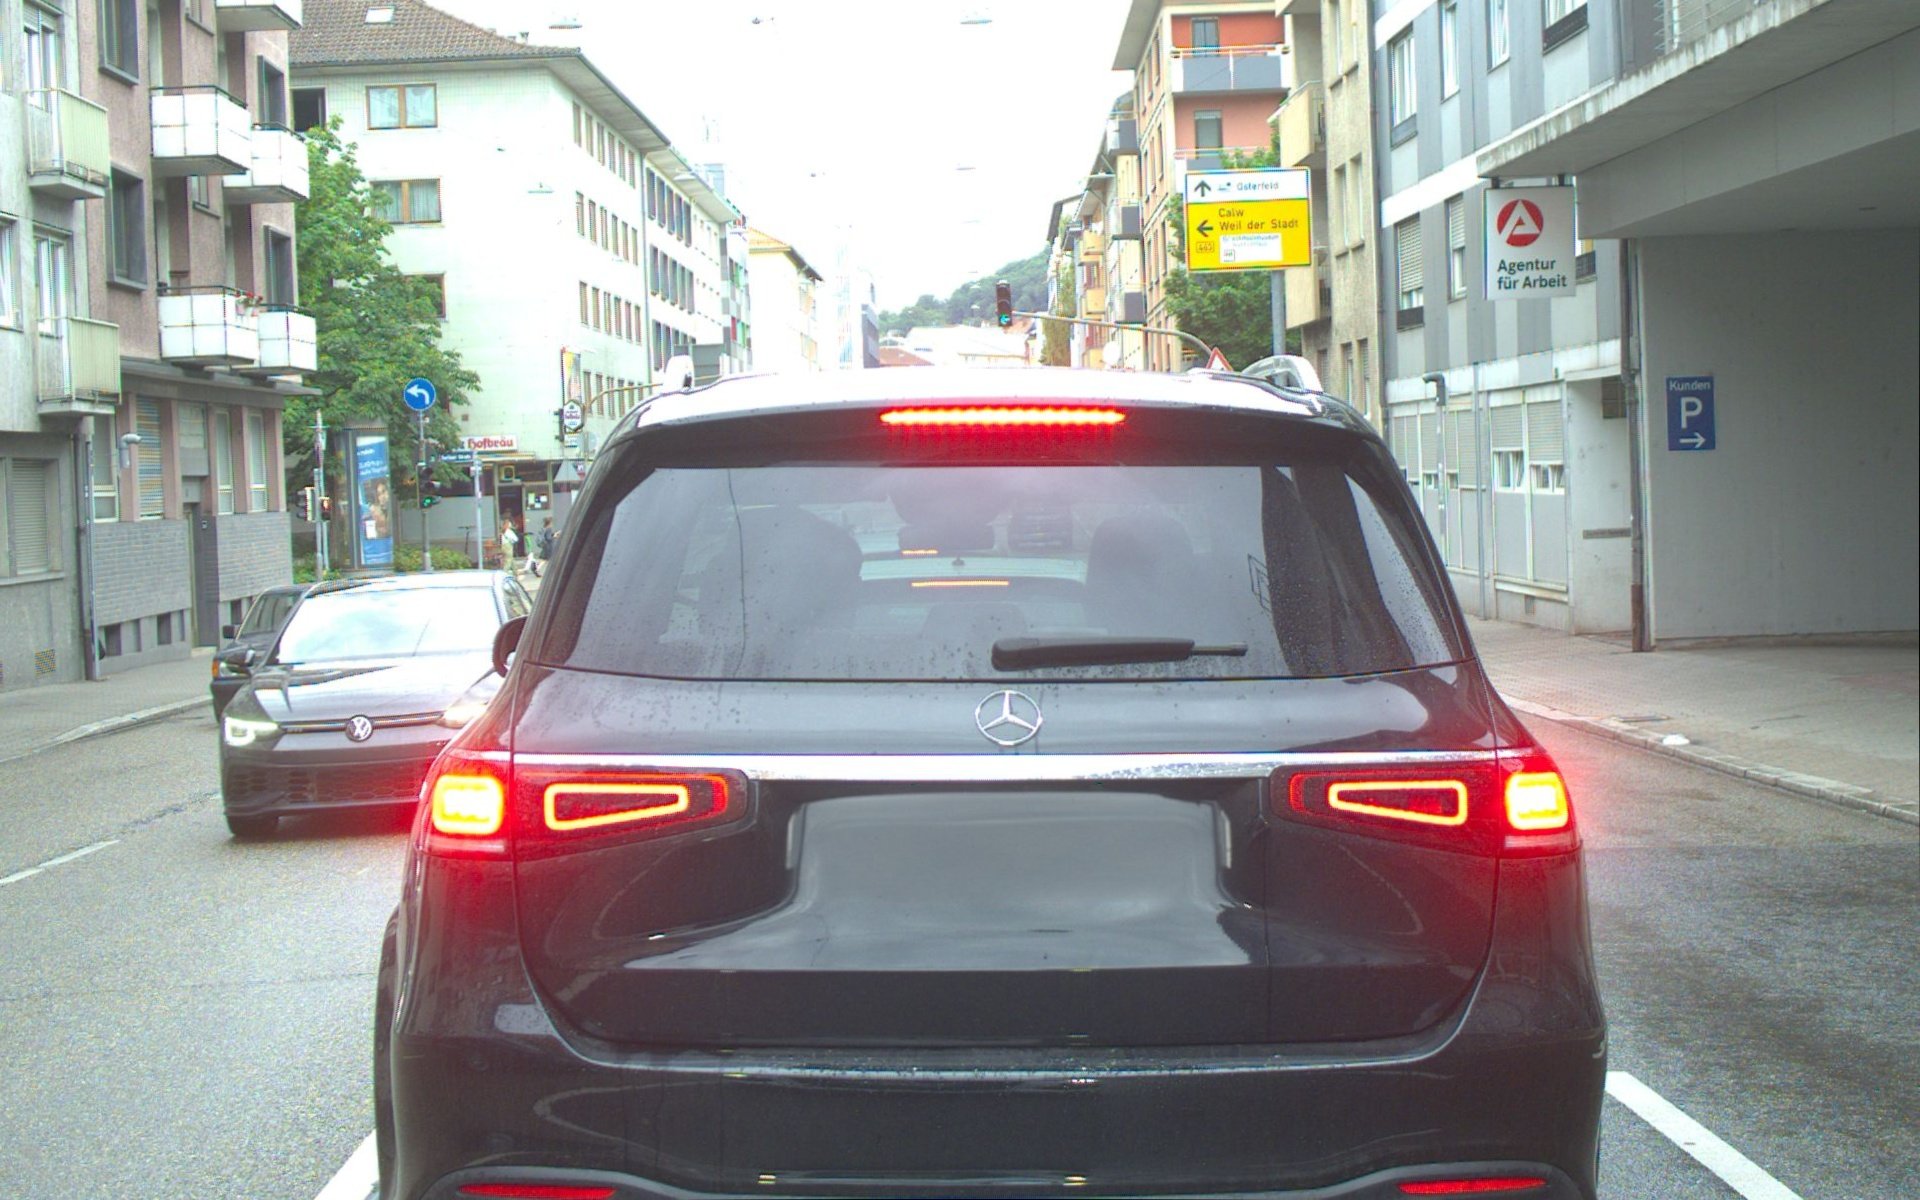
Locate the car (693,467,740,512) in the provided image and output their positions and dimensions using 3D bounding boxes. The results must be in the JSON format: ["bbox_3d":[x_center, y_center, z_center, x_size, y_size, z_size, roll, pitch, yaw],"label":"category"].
[{"bbox_3d":[-9.321,-4.198,131.592,1.618,1.534,4.218,-3,1,-3],"label":"car"}]

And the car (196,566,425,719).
[{"bbox_3d":[-6.722,0.394,35.979,1.598,1.365,4.363,-4,1,-2],"label":"car"}]

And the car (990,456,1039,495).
[{"bbox_3d":[2.170,-4.973,137.688,1.618,1.382,4.218,-3,1,-3],"label":"car"}]

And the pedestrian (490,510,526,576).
[{"bbox_3d":[-12.213,-1.548,92.972,0.636,1.758,0.772,-2,1,17],"label":"pedestrian"}]

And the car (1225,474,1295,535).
[{"bbox_3d":[8.219,-2.625,94.473,1.671,1.583,3.330,-2,1,2],"label":"car"}]

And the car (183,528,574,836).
[{"bbox_3d":[-3.414,0.442,20.912,1.694,1.575,4.218,-4,0,-2],"label":"car"}]

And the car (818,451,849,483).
[{"bbox_3d":[-7.149,-7.483,193.638,1.618,1.534,4.218,-3,1,-3],"label":"car"}]

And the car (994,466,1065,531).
[{"bbox_3d":[2.036,-2.992,101.862,1.723,1.754,4.218,-3,1,-3],"label":"car"}]

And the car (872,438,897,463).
[{"bbox_3d":[-5.476,-10.860,250.141,1.618,1.534,4.218,-3,1,-3],"label":"car"}]

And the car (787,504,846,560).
[{"bbox_3d":[-4.230,-1.986,101.224,1.618,1.534,4.218,-3,1,-3],"label":"car"}]

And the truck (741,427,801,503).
[{"bbox_3d":[-8.616,-6.092,157.009,2.479,3.035,9.921,-3,1,-3],"label":"truck"}]

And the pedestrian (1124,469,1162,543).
[{"bbox_3d":[5.069,-2.606,95.468,0.923,2.007,0.706,-2,1,-2],"label":"pedestrian"}]

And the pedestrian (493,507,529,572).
[{"bbox_3d":[-13.344,-1.806,102.117,0.923,1.895,0.706,-2,1,-2],"label":"pedestrian"}]

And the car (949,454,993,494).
[{"bbox_3d":[0.477,-5.436,148.880,1.618,1.534,4.218,-3,1,-3],"label":"car"}]

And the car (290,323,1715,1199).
[{"bbox_3d":[0.032,0.503,7.025,1.985,1.799,4.390,1,1,-1],"label":"car"}]

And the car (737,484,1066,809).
[{"bbox_3d":[-0.418,0.234,20.839,1.751,1.725,4.218,-1,1,-3],"label":"car"}]

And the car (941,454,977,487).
[{"bbox_3d":[-0.062,-6.682,177.647,1.618,1.534,4.218,-3,1,-3],"label":"car"}]

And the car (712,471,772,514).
[{"bbox_3d":[-7.354,-3.626,116.308,1.885,1.260,4.218,-3,1,-3],"label":"car"}]
